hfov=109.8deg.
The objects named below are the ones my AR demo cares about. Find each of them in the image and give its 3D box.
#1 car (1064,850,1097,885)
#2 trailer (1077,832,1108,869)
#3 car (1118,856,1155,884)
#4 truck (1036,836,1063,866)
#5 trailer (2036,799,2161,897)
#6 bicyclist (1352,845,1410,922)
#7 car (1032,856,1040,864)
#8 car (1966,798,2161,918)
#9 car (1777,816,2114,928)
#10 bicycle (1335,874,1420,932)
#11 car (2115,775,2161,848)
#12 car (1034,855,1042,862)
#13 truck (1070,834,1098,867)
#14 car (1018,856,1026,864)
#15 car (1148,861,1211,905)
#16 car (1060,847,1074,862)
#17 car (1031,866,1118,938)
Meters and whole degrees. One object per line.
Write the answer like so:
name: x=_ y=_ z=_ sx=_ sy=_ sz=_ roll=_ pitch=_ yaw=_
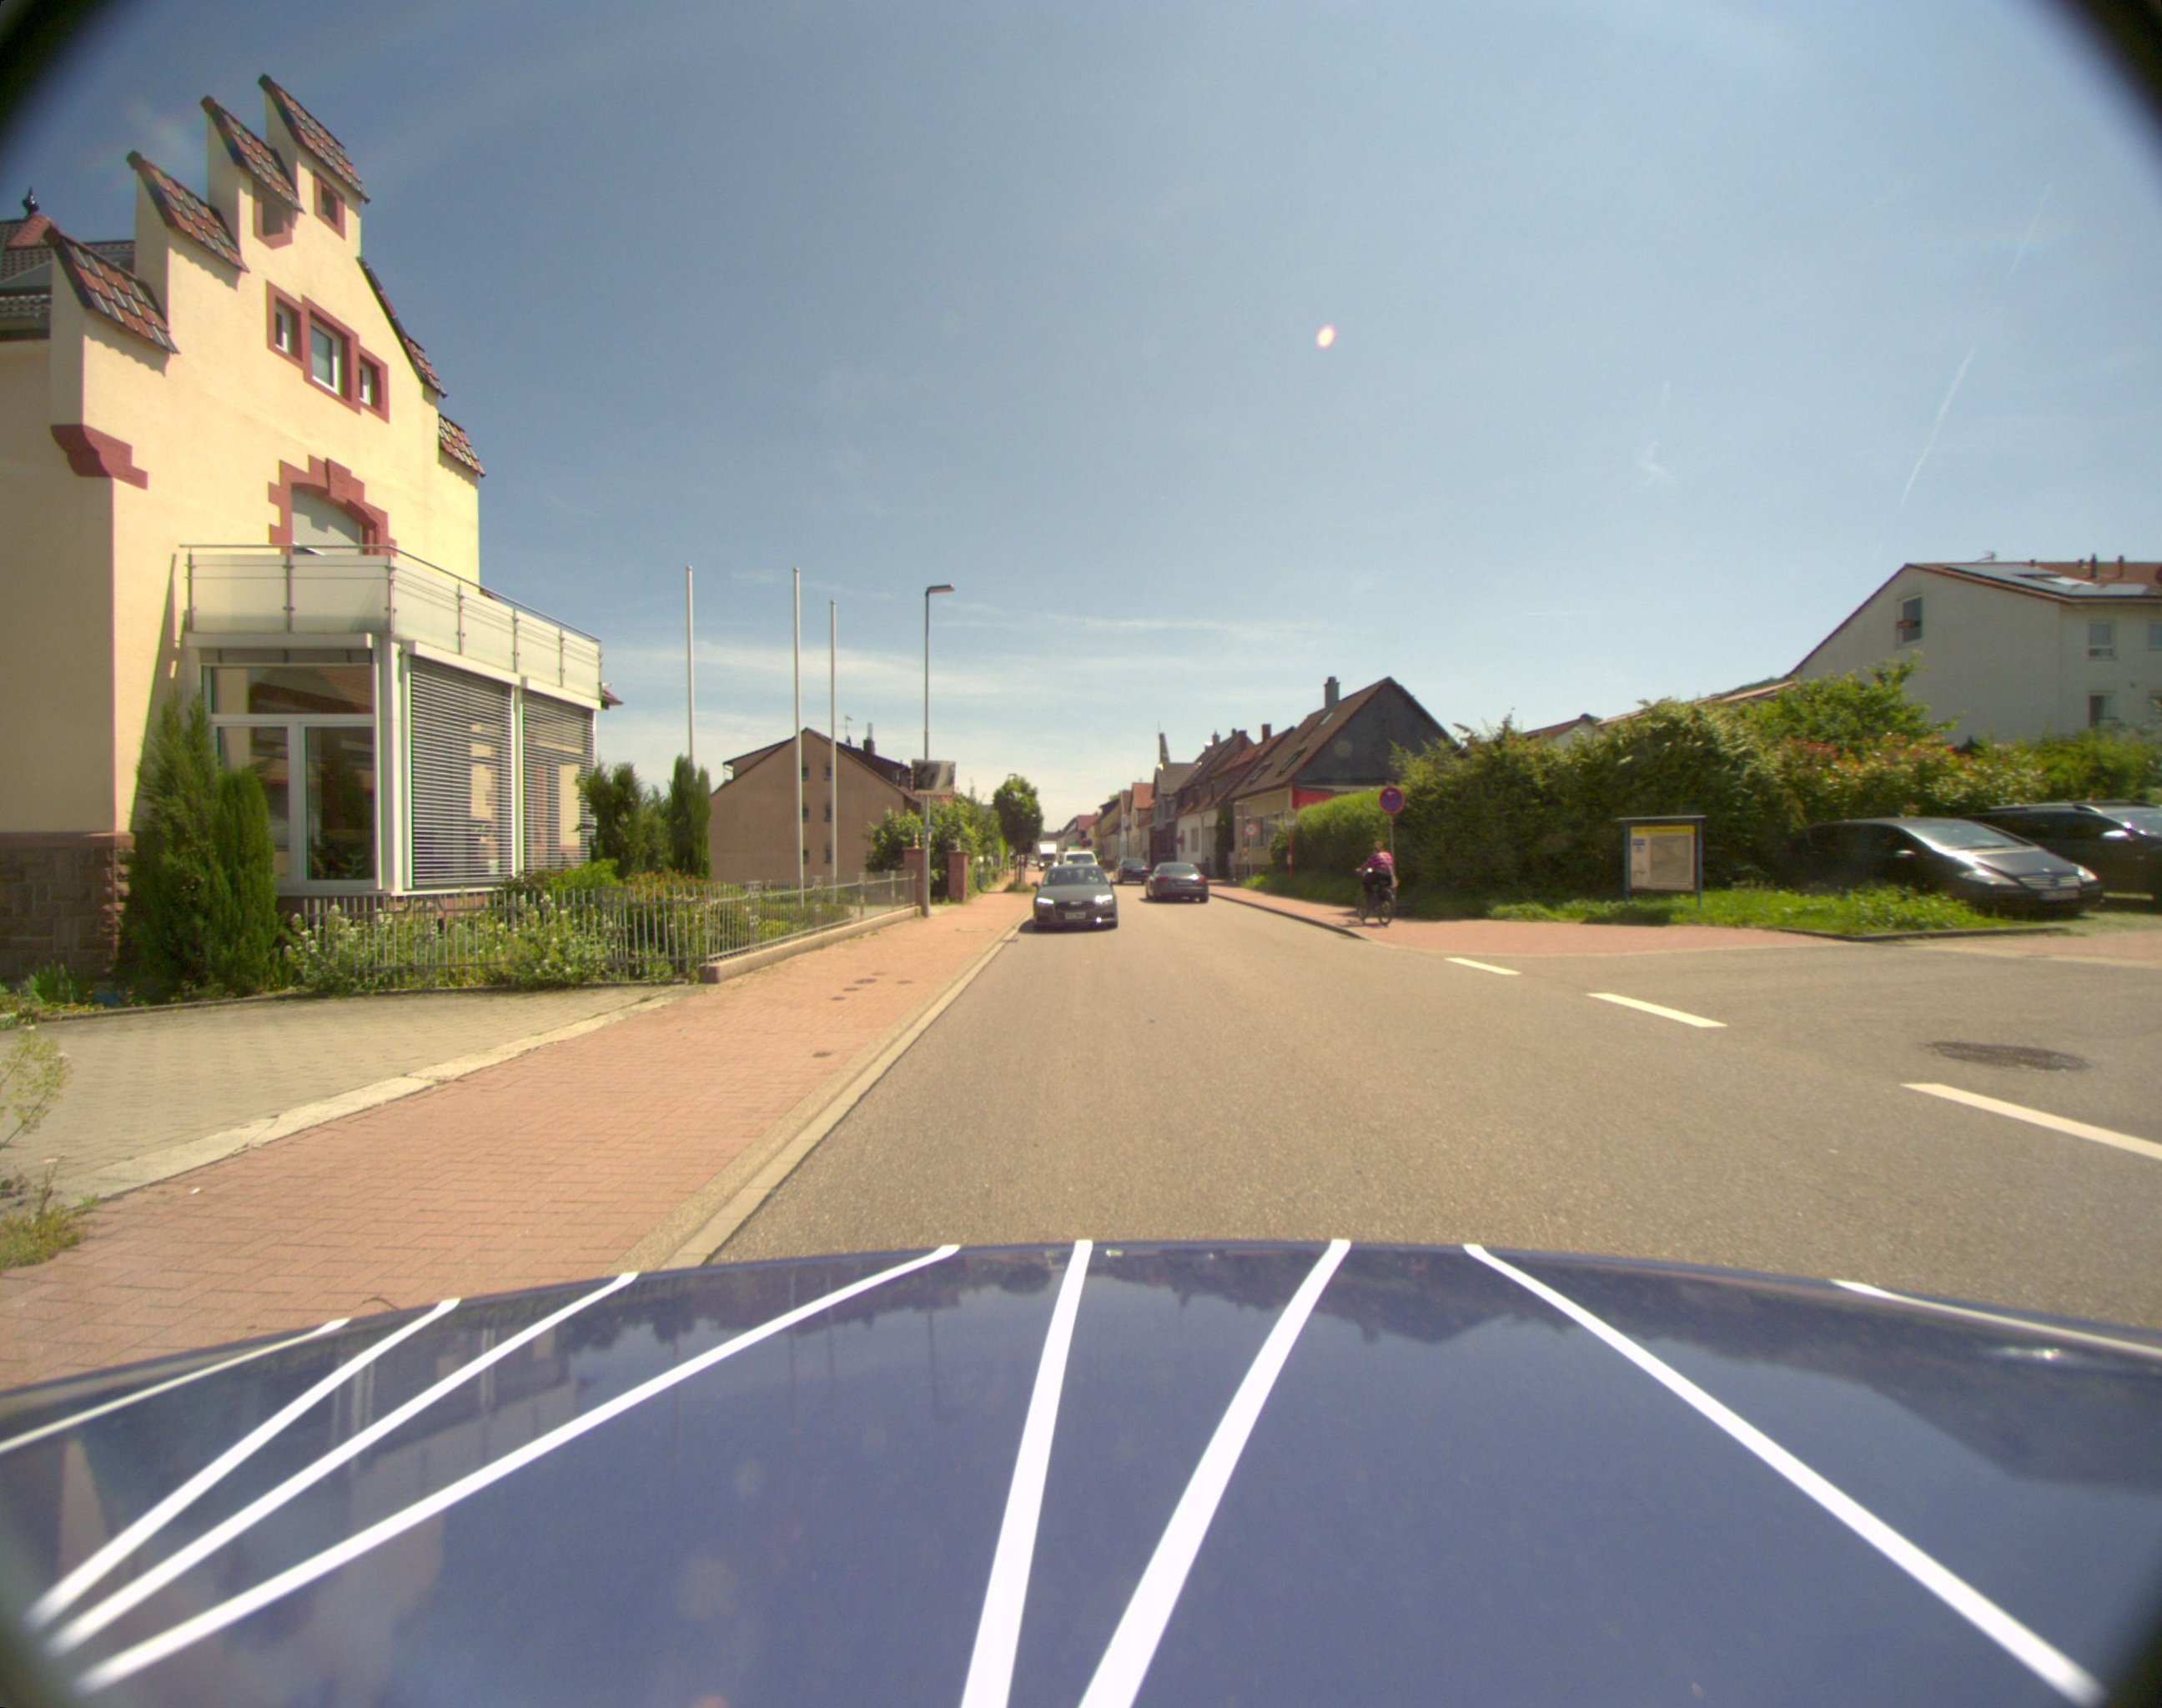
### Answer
car: x=-0.052 y=0.697 z=41.440 sx=1.637 sy=1.833 sz=3.569 roll=-1 pitch=0 yaw=-2
trailer: x=1.155 y=-0.353 z=80.557 sx=2.537 sy=3.627 sz=8.458 roll=0 pitch=0 yaw=-4
car: x=3.120 y=0.865 z=43.239 sx=1.734 sy=1.451 sz=4.694 roll=0 pitch=0 yaw=0
truck: x=-4.043 y=-0.340 z=94.989 sx=2.899 sy=3.516 sz=12.948 roll=-1 pitch=0 yaw=-4
trailer: x=19.501 y=-0.141 z=13.541 sx=1.430 sy=1.654 sz=2.691 roll=-5 pitch=0 yaw=-4
bicyclist: x=6.139 y=0.585 z=15.601 sx=0.660 sy=1.485 sz=0.908 roll=-4 pitch=1 yaw=-9
car: x=-8.371 y=1.101 z=141.141 sx=1.508 sy=1.432 sz=3.534 roll=-3 pitch=1 yaw=-5
car: x=16.992 y=0.019 z=12.162 sx=1.627 sy=1.769 sz=3.511 roll=-4 pitch=0 yaw=4
car: x=14.235 y=0.246 z=12.869 sx=1.627 sy=1.532 sz=3.652 roll=-4 pitch=0 yaw=4
bicycle: x=6.129 y=0.977 z=15.841 sx=0.673 sy=1.050 sz=2.025 roll=-4 pitch=0 yaw=-9
car: x=27.218 y=-1.090 z=17.977 sx=3.639 sy=1.724 sz=1.420 roll=-3 pitch=1 yaw=-2
car: x=-8.961 y=0.925 z=157.573 sx=1.508 sy=1.432 sz=3.534 roll=-3 pitch=1 yaw=-5
truck: x=0.245 y=-0.385 z=89.013 sx=2.574 sy=3.679 sz=10.074 roll=0 pitch=0 yaw=-4
car: x=-11.706 y=1.222 z=150.232 sx=1.637 sy=1.572 sz=3.568 roll=1 pitch=0 yaw=-4
car: x=3.335 y=0.955 z=26.472 sx=1.710 sy=1.362 sz=3.868 roll=1 pitch=0 yaw=1
car: x=-2.283 y=0.065 z=123.882 sx=2.035 sy=2.446 sz=6.066 roll=0 pitch=0 yaw=-3
car: x=-0.174 y=1.006 z=17.361 sx=1.705 sy=1.346 sz=3.999 roll=-2 pitch=0 yaw=-1
